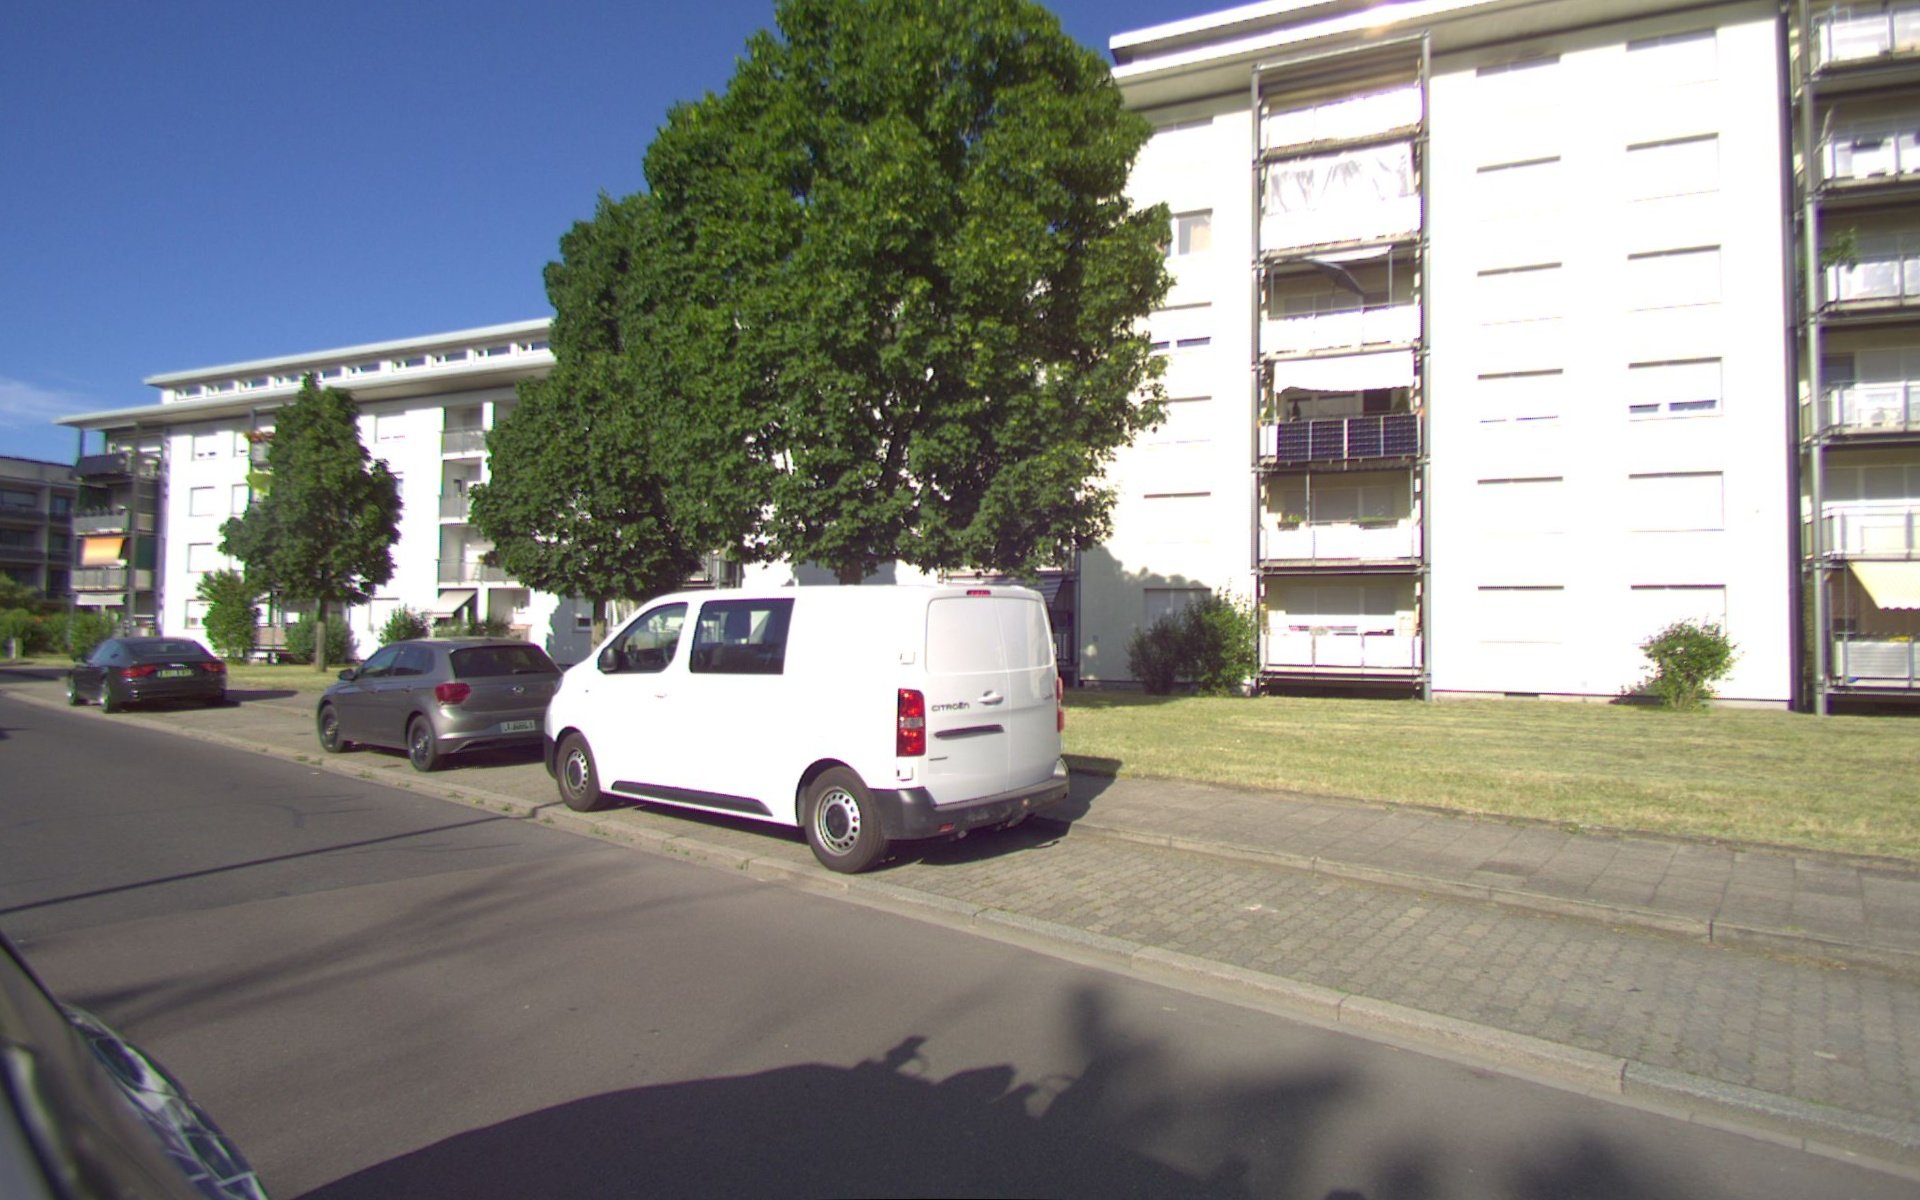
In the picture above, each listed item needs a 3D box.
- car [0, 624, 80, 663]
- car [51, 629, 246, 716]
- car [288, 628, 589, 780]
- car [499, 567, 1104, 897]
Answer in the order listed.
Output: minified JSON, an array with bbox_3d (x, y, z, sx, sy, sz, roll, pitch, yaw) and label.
[{"bbox_3d":[-61.034,2.824,65.375,2.206,2.447,5.857,-3,-5,33],"label":"car"},{"bbox_3d":[-16.513,1.377,20.482,5.250,1.504,2.015,-2,-1,39],"label":"car"},{"bbox_3d":[-6.521,1.126,12.469,4.218,1.529,1.815,-1,-2,40],"label":"car"},{"bbox_3d":[-1.565,0.818,8.285,5.186,1.900,1.994,-1,-2,40],"label":"car"}]
